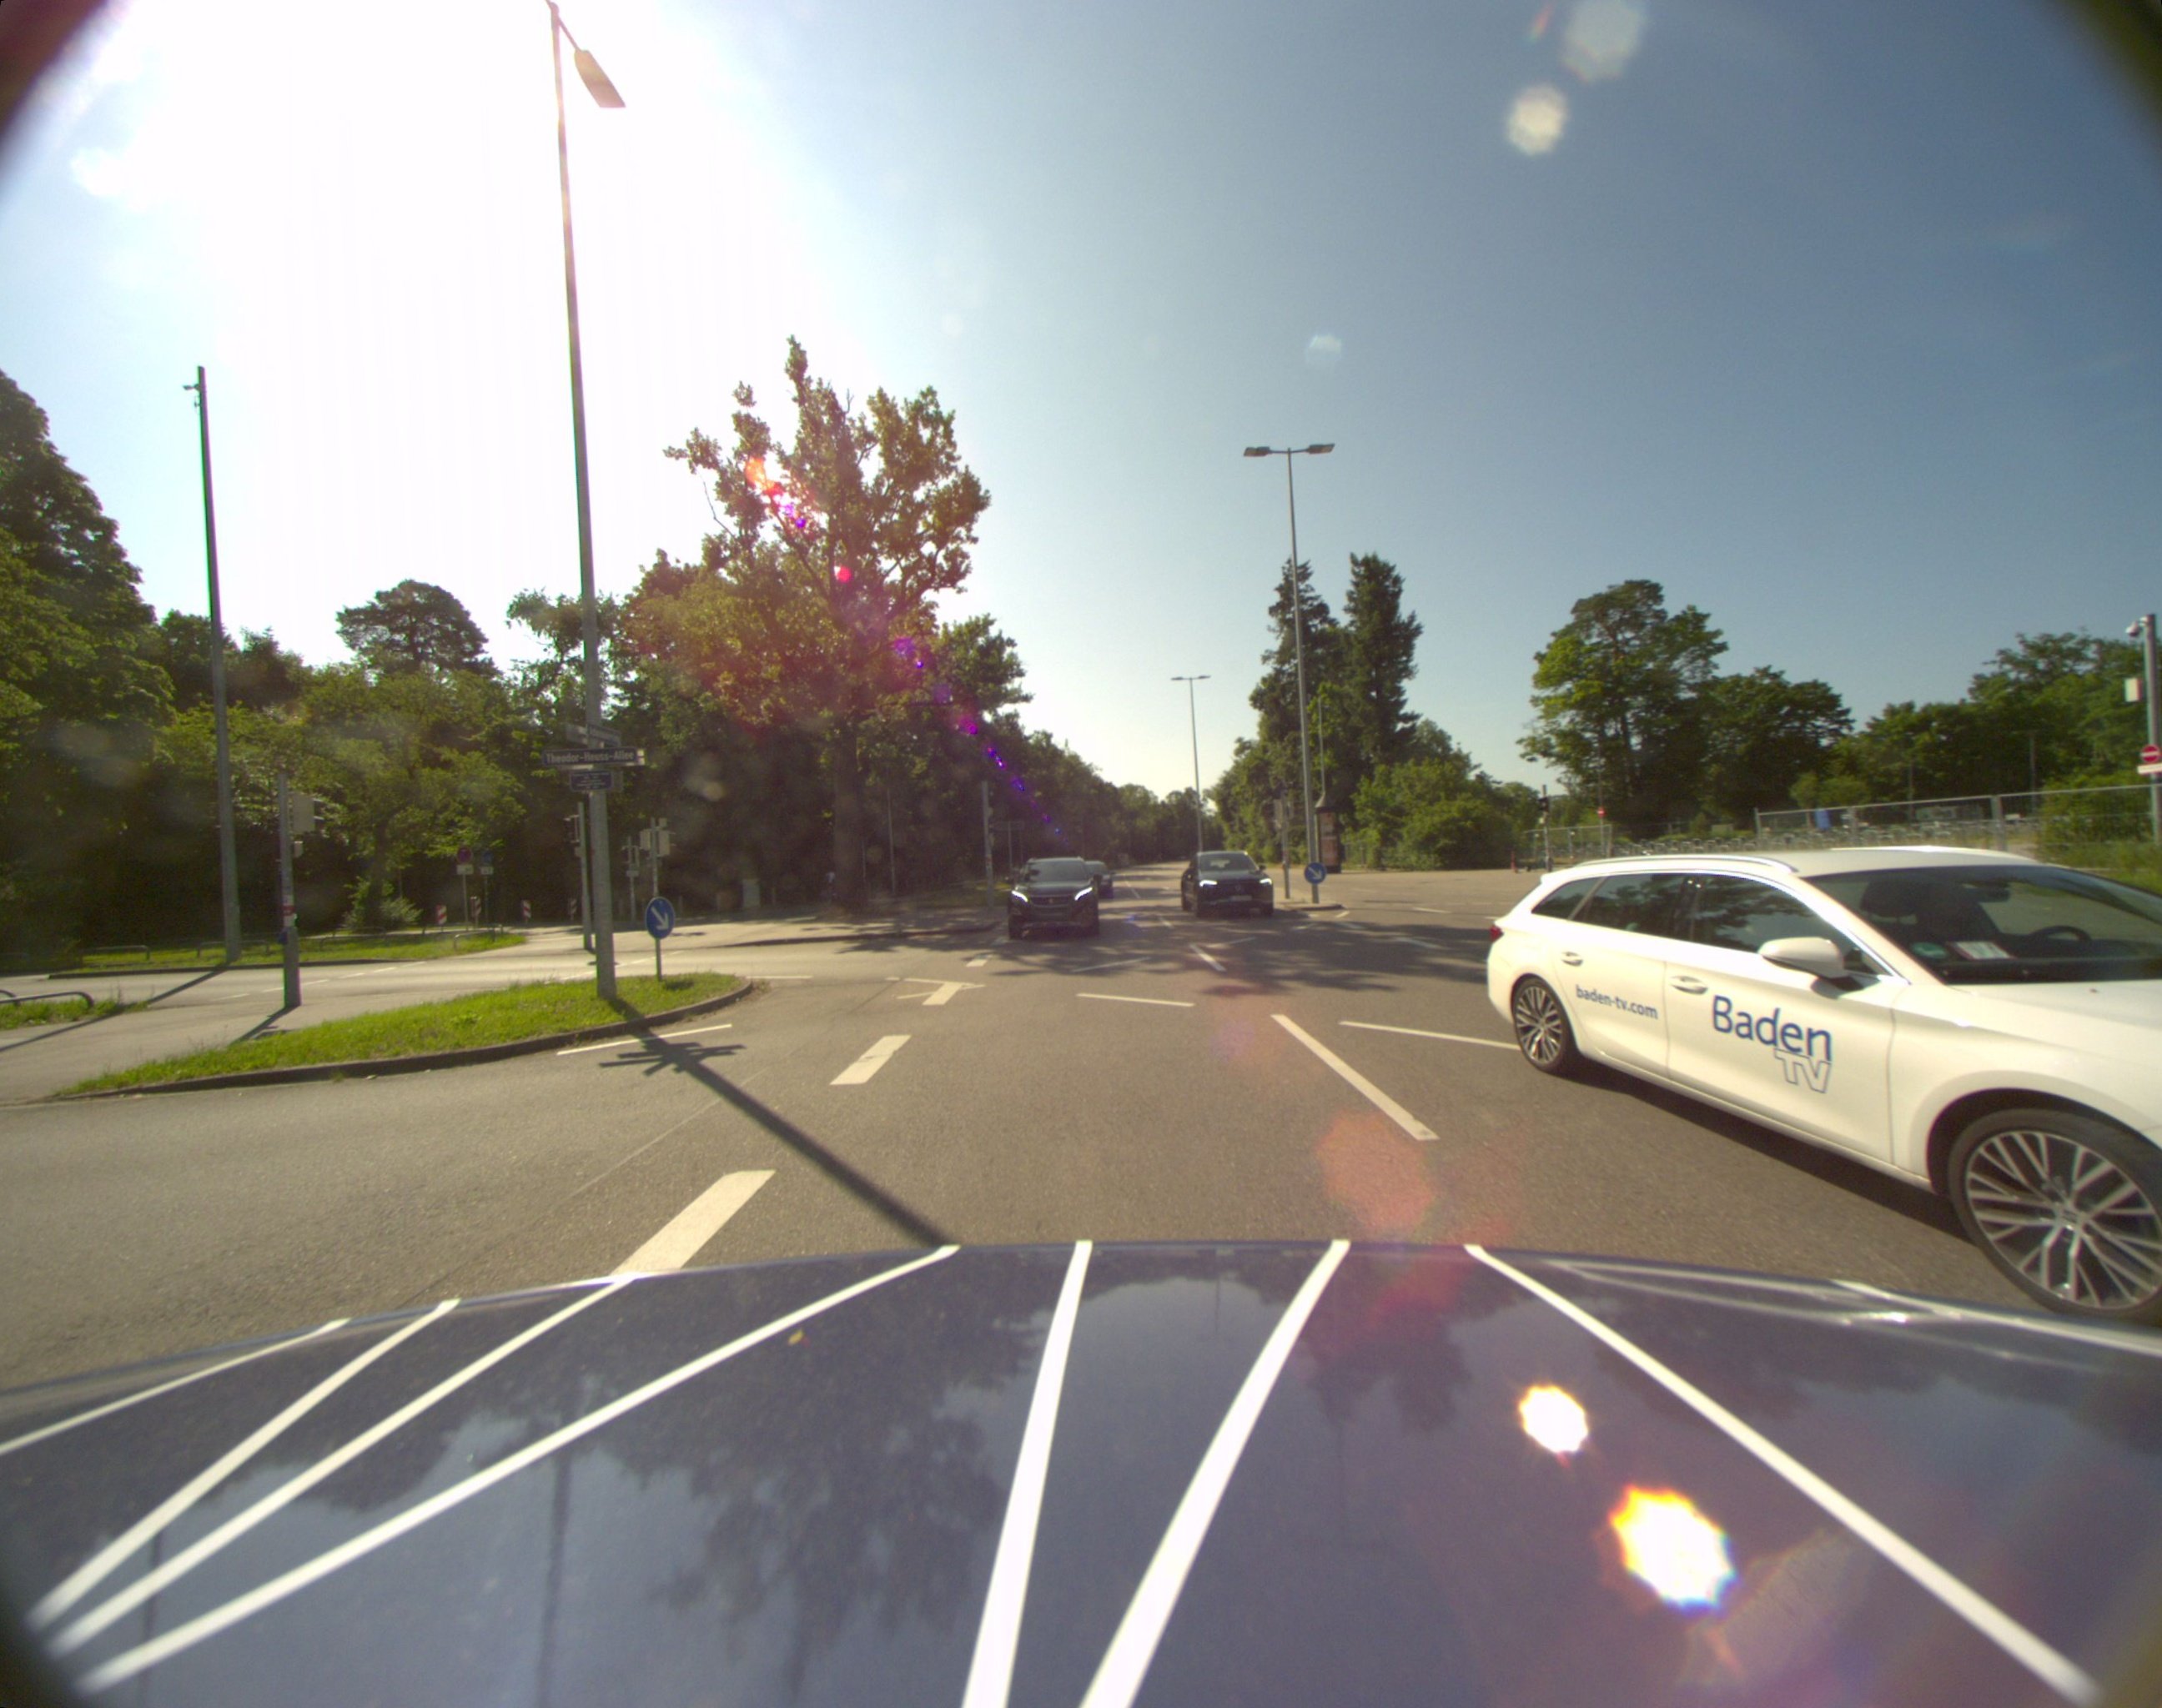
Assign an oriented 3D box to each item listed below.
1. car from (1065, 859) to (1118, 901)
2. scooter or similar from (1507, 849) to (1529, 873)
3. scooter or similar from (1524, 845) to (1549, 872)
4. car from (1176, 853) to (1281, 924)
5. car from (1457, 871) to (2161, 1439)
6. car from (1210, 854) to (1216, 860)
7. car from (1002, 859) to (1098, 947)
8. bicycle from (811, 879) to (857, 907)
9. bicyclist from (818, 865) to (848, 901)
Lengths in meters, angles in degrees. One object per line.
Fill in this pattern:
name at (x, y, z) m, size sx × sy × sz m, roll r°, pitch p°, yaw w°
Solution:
car at (0.389, 0.992, 30.720) m, size 1.933 × 1.499 × 4.000 m, roll -3°, pitch 0°, yaw 0°
scooter or similar at (20.919, 0.340, 36.381) m, size 0.395 × 1.139 × 1.197 m, roll -3°, pitch 0°, yaw 7°
scooter or similar at (21.718, 0.213, 36.257) m, size 1.082 × 1.214 × 0.395 m, roll -3°, pitch 0°, yaw -22°
car at (3.644, 0.796, 19.508) m, size 1.809 × 1.587 × 4.272 m, roll -1°, pitch 0°, yaw -1°
car at (3.788, 0.853, 3.589) m, size 1.729 × 1.418 × 4.720 m, roll -2°, pitch 0°, yaw 1°
car at (43.016, 0.836, 246.866) m, size 1.875 × 1.849 × 4.003 m, roll -3°, pitch 0°, yaw 10°
car at (-0.537, 0.954, 16.586) m, size 1.702 × 1.581 × 4.320 m, roll -3°, pitch 0°, yaw 2°
bicycle at (-11.671, 1.841, 36.005) m, size 0.724 × 1.192 × 2.104 m, roll -3°, pitch 0°, yaw 27°
bicyclist at (-11.720, 1.382, 35.973) m, size 0.724 × 1.629 × 1.060 m, roll -3°, pitch 0°, yaw 27°
